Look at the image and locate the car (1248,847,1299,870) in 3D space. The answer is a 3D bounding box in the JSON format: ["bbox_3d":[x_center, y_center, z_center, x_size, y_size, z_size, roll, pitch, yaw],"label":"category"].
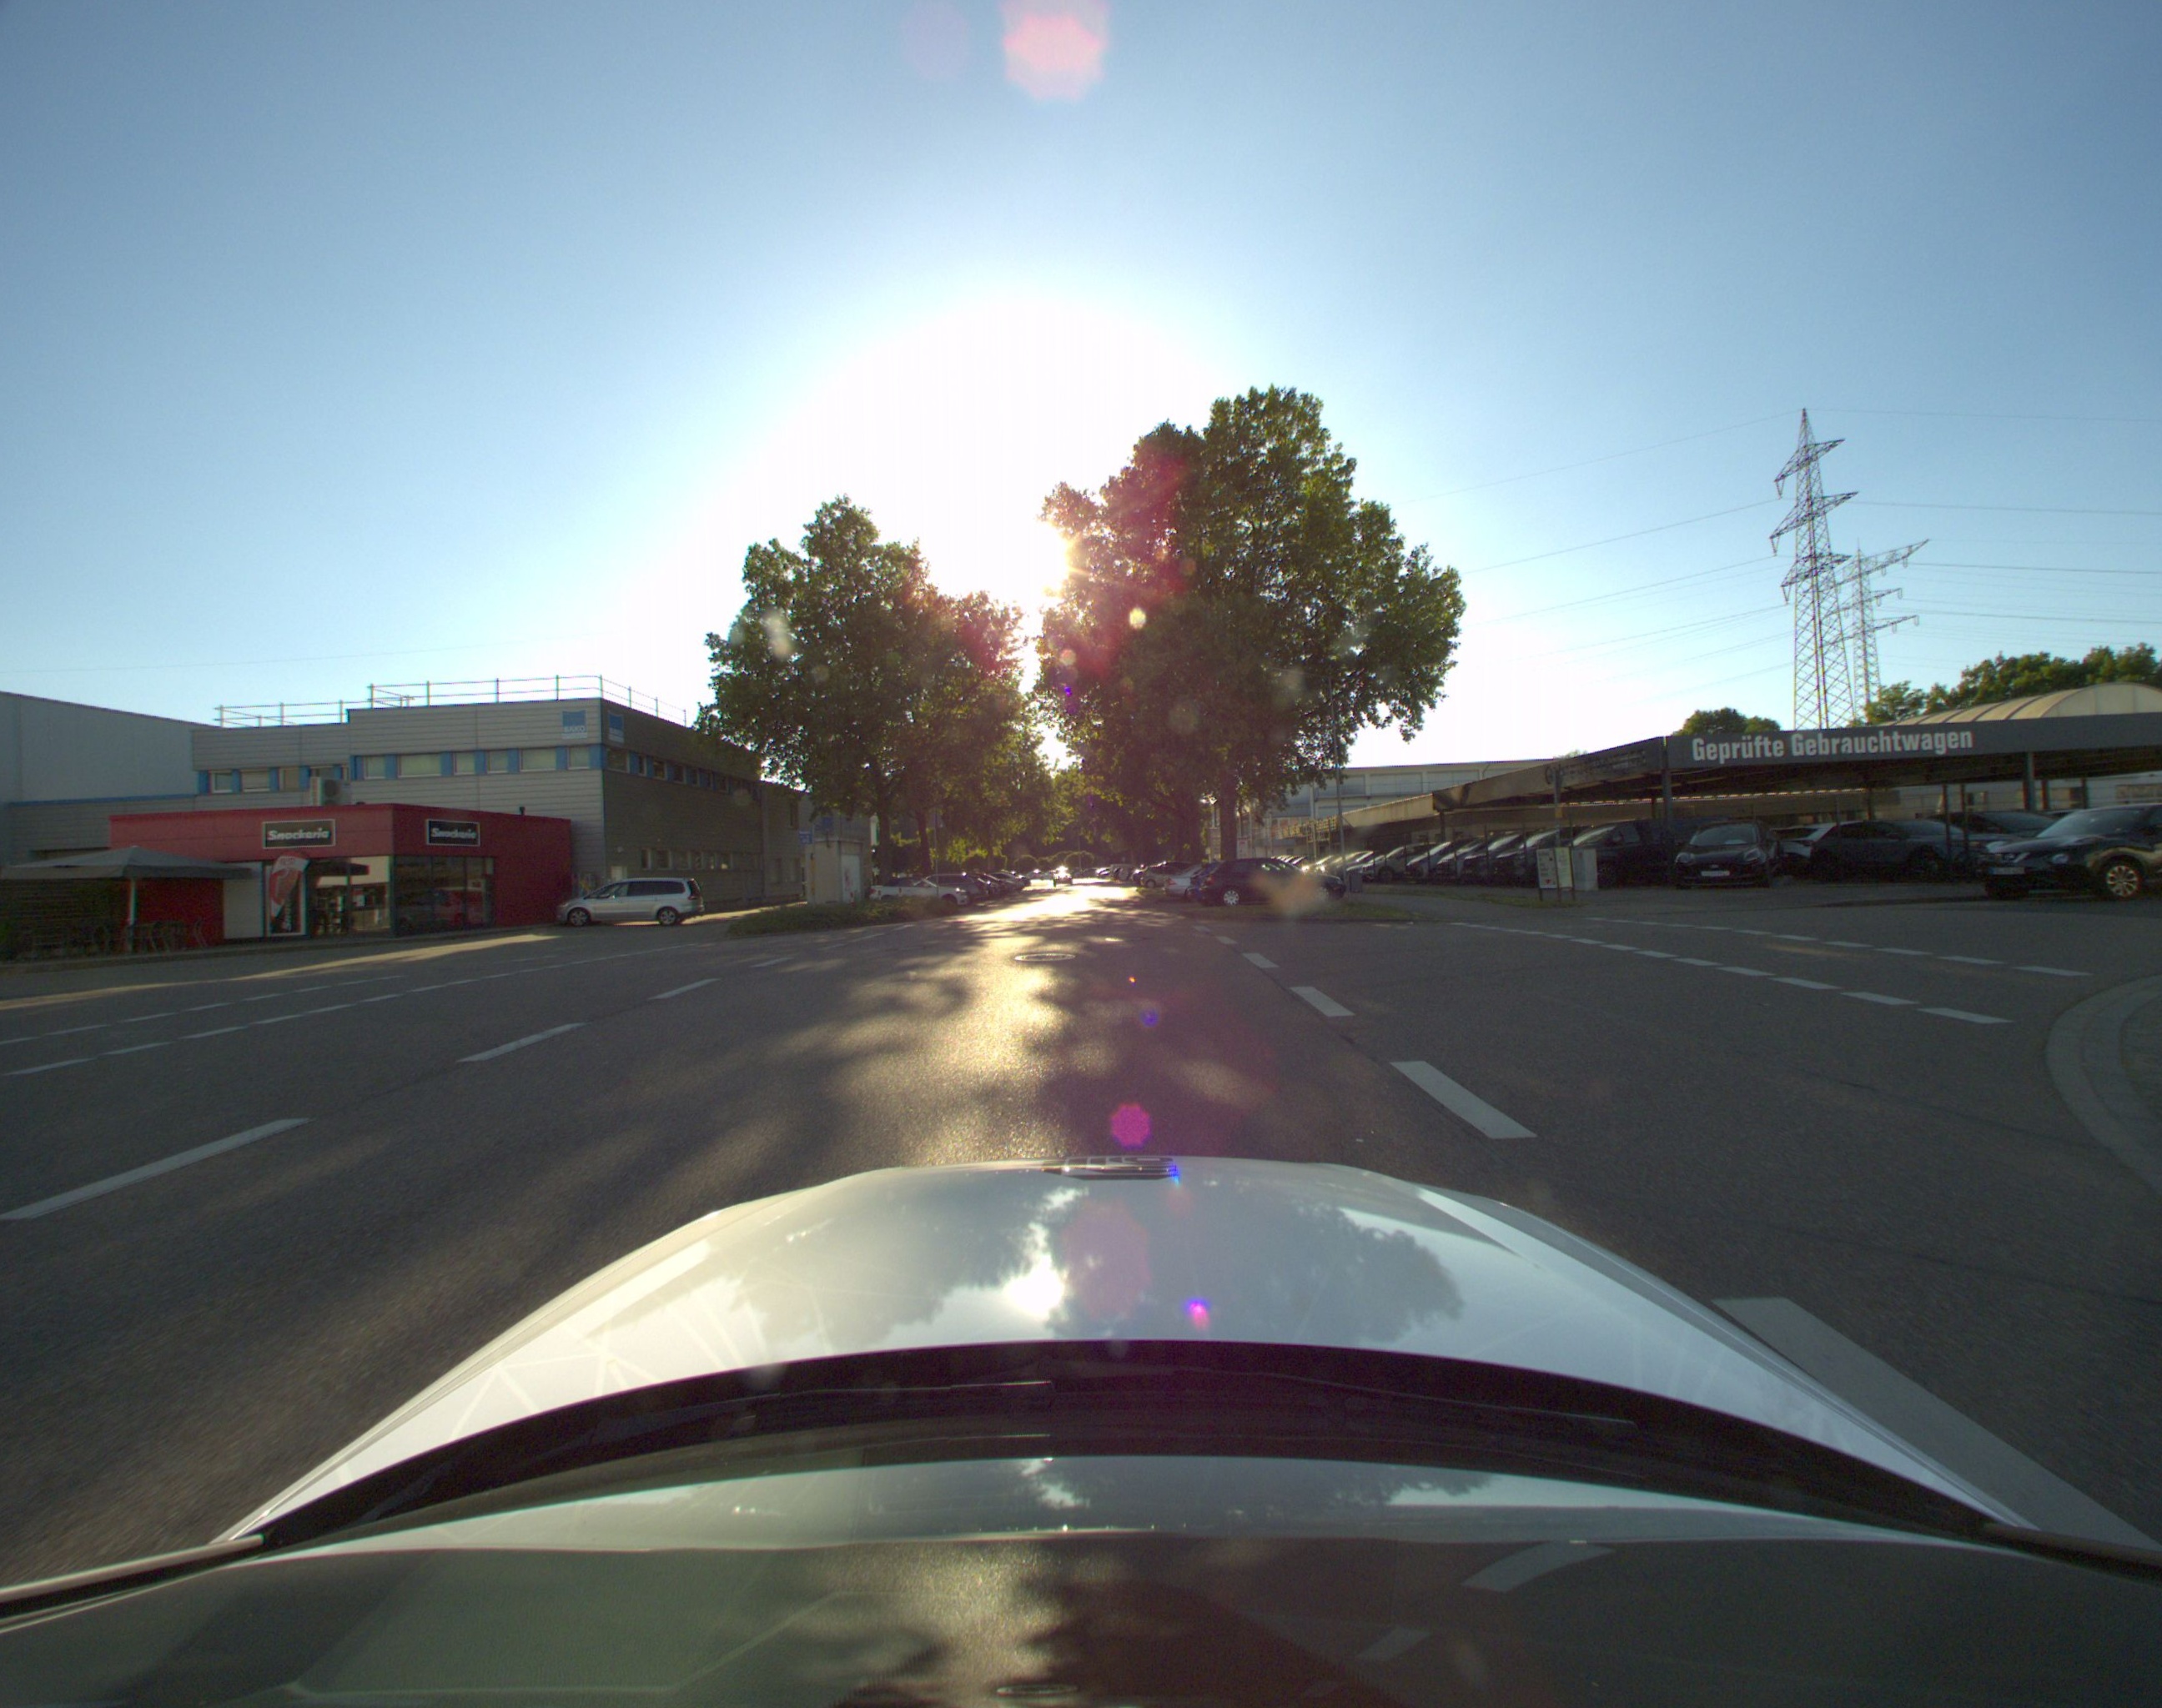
[{"bbox_3d":[16.844,0.405,71.367,3.974,1.906,2.000,-2,-1,0],"label":"car"}]

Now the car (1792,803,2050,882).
[{"bbox_3d":[19.846,-0.201,19.547,1.987,1.602,3.999,-3,-2,0],"label":"car"}]

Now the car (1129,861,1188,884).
[{"bbox_3d":[5.445,1.316,57.810,3.973,1.381,1.827,-3,-1,1],"label":"car"}]

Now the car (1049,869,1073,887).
[{"bbox_3d":[-1.775,2.150,73.892,1.986,1.609,4.001,-1,-1,1],"label":"car"}]

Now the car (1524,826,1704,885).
[{"bbox_3d":[15.589,0.057,23.999,3.974,1.568,2.000,-2,-1,0],"label":"car"}]

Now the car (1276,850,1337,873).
[{"bbox_3d":[16.833,0.566,60.979,3.974,1.546,2.000,-2,-1,0],"label":"car"}]

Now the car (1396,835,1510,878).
[{"bbox_3d":[15.984,0.100,35.152,3.974,1.700,2.000,-2,-1,0],"label":"car"}]

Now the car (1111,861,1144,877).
[{"bbox_3d":[5.789,1.845,102.504,3.973,1.777,1.827,-3,-1,1],"label":"car"}]

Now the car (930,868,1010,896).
[{"bbox_3d":[-6.620,1.667,48.712,4.398,1.517,2.001,-2,-1,2],"label":"car"}]

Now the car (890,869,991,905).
[{"bbox_3d":[-6.573,1.540,38.431,4.402,1.517,1.999,-2,-1,-1],"label":"car"}]

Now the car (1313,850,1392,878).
[{"bbox_3d":[16.012,0.599,48.118,3.974,1.546,2.000,-2,-1,0],"label":"car"}]

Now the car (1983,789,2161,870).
[{"bbox_3d":[24.932,-0.563,19.574,1.987,1.734,3.998,-3,-2,0],"label":"car"}]

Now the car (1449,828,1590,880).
[{"bbox_3d":[15.594,0.012,29.122,3.974,1.700,2.000,-2,-1,0],"label":"car"}]

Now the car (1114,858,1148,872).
[{"bbox_3d":[6.051,1.372,99.413,3.973,1.416,1.827,-3,-1,1],"label":"car"}]

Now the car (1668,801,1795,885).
[{"bbox_3d":[16.045,-0.207,20.011,1.915,1.770,4.023,-6,-5,44],"label":"car"}]

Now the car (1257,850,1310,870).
[{"bbox_3d":[16.961,0.534,68.421,3.974,1.546,2.000,-2,-1,0],"label":"car"}]

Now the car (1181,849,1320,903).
[{"bbox_3d":[5.307,0.686,25.900,3.973,1.416,2.000,-3,-1,1],"label":"car"}]

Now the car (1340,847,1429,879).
[{"bbox_3d":[15.958,0.478,42.954,3.974,1.546,2.000,-2,-1,0],"label":"car"}]

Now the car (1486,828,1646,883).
[{"bbox_3d":[15.698,0.060,26.524,3.974,1.634,2.000,-2,-1,0],"label":"car"}]

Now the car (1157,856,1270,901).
[{"bbox_3d":[4.957,0.920,30.954,3.973,1.416,1.827,-3,-1,1],"label":"car"}]

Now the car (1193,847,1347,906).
[{"bbox_3d":[5.388,0.652,23.609,3.973,1.416,2.000,-3,-1,1],"label":"car"}]

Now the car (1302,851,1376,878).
[{"bbox_3d":[16.045,0.629,50.844,3.974,1.546,2.000,-2,-1,0],"label":"car"}]

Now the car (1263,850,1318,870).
[{"bbox_3d":[16.941,0.496,66.010,3.974,1.546,2.000,-2,-1,0],"label":"car"}]

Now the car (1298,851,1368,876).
[{"bbox_3d":[16.519,0.626,53.544,3.974,1.504,2.000,-2,-1,0],"label":"car"}]

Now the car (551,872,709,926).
[{"bbox_3d":[-16.280,1.592,29.662,4.637,1.741,1.990,-1,-1,-15],"label":"car"}]

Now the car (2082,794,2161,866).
[{"bbox_3d":[27.291,-0.649,19.368,1.987,1.733,3.999,-3,-1,0],"label":"car"}]

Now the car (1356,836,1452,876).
[{"bbox_3d":[15.967,0.119,40.408,3.974,1.832,2.000,-2,-1,0],"label":"car"}]

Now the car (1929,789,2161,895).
[{"bbox_3d":[17.652,-0.195,14.028,3.976,1.605,1.998,-3,-3,-2],"label":"car"}]

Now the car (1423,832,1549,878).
[{"bbox_3d":[16.014,0.054,32.367,3.974,1.700,2.000,-2,-1,0],"label":"car"}]

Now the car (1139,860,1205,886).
[{"bbox_3d":[5.759,1.203,51.827,3.973,1.416,1.827,-3,-1,1],"label":"car"}]

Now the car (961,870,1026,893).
[{"bbox_3d":[-6.383,1.984,59.694,4.398,1.517,2.001,-2,-1,2],"label":"car"}]

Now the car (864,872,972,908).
[{"bbox_3d":[-7.125,1.572,35.974,4.407,1.403,1.997,-1,-1,-4],"label":"car"}]

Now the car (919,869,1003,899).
[{"bbox_3d":[-6.659,1.671,45.575,4.404,1.517,1.998,-1,-1,-3],"label":"car"}]

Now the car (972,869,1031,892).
[{"bbox_3d":[-6.291,2.116,64.912,4.398,1.697,2.001,-2,-1,2],"label":"car"}]

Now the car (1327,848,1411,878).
[{"bbox_3d":[16.018,0.515,45.390,3.974,1.546,2.000,-2,-1,0],"label":"car"}]

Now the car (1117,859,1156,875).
[{"bbox_3d":[5.837,1.389,86.432,3.973,1.416,1.827,-3,-1,1],"label":"car"}]
